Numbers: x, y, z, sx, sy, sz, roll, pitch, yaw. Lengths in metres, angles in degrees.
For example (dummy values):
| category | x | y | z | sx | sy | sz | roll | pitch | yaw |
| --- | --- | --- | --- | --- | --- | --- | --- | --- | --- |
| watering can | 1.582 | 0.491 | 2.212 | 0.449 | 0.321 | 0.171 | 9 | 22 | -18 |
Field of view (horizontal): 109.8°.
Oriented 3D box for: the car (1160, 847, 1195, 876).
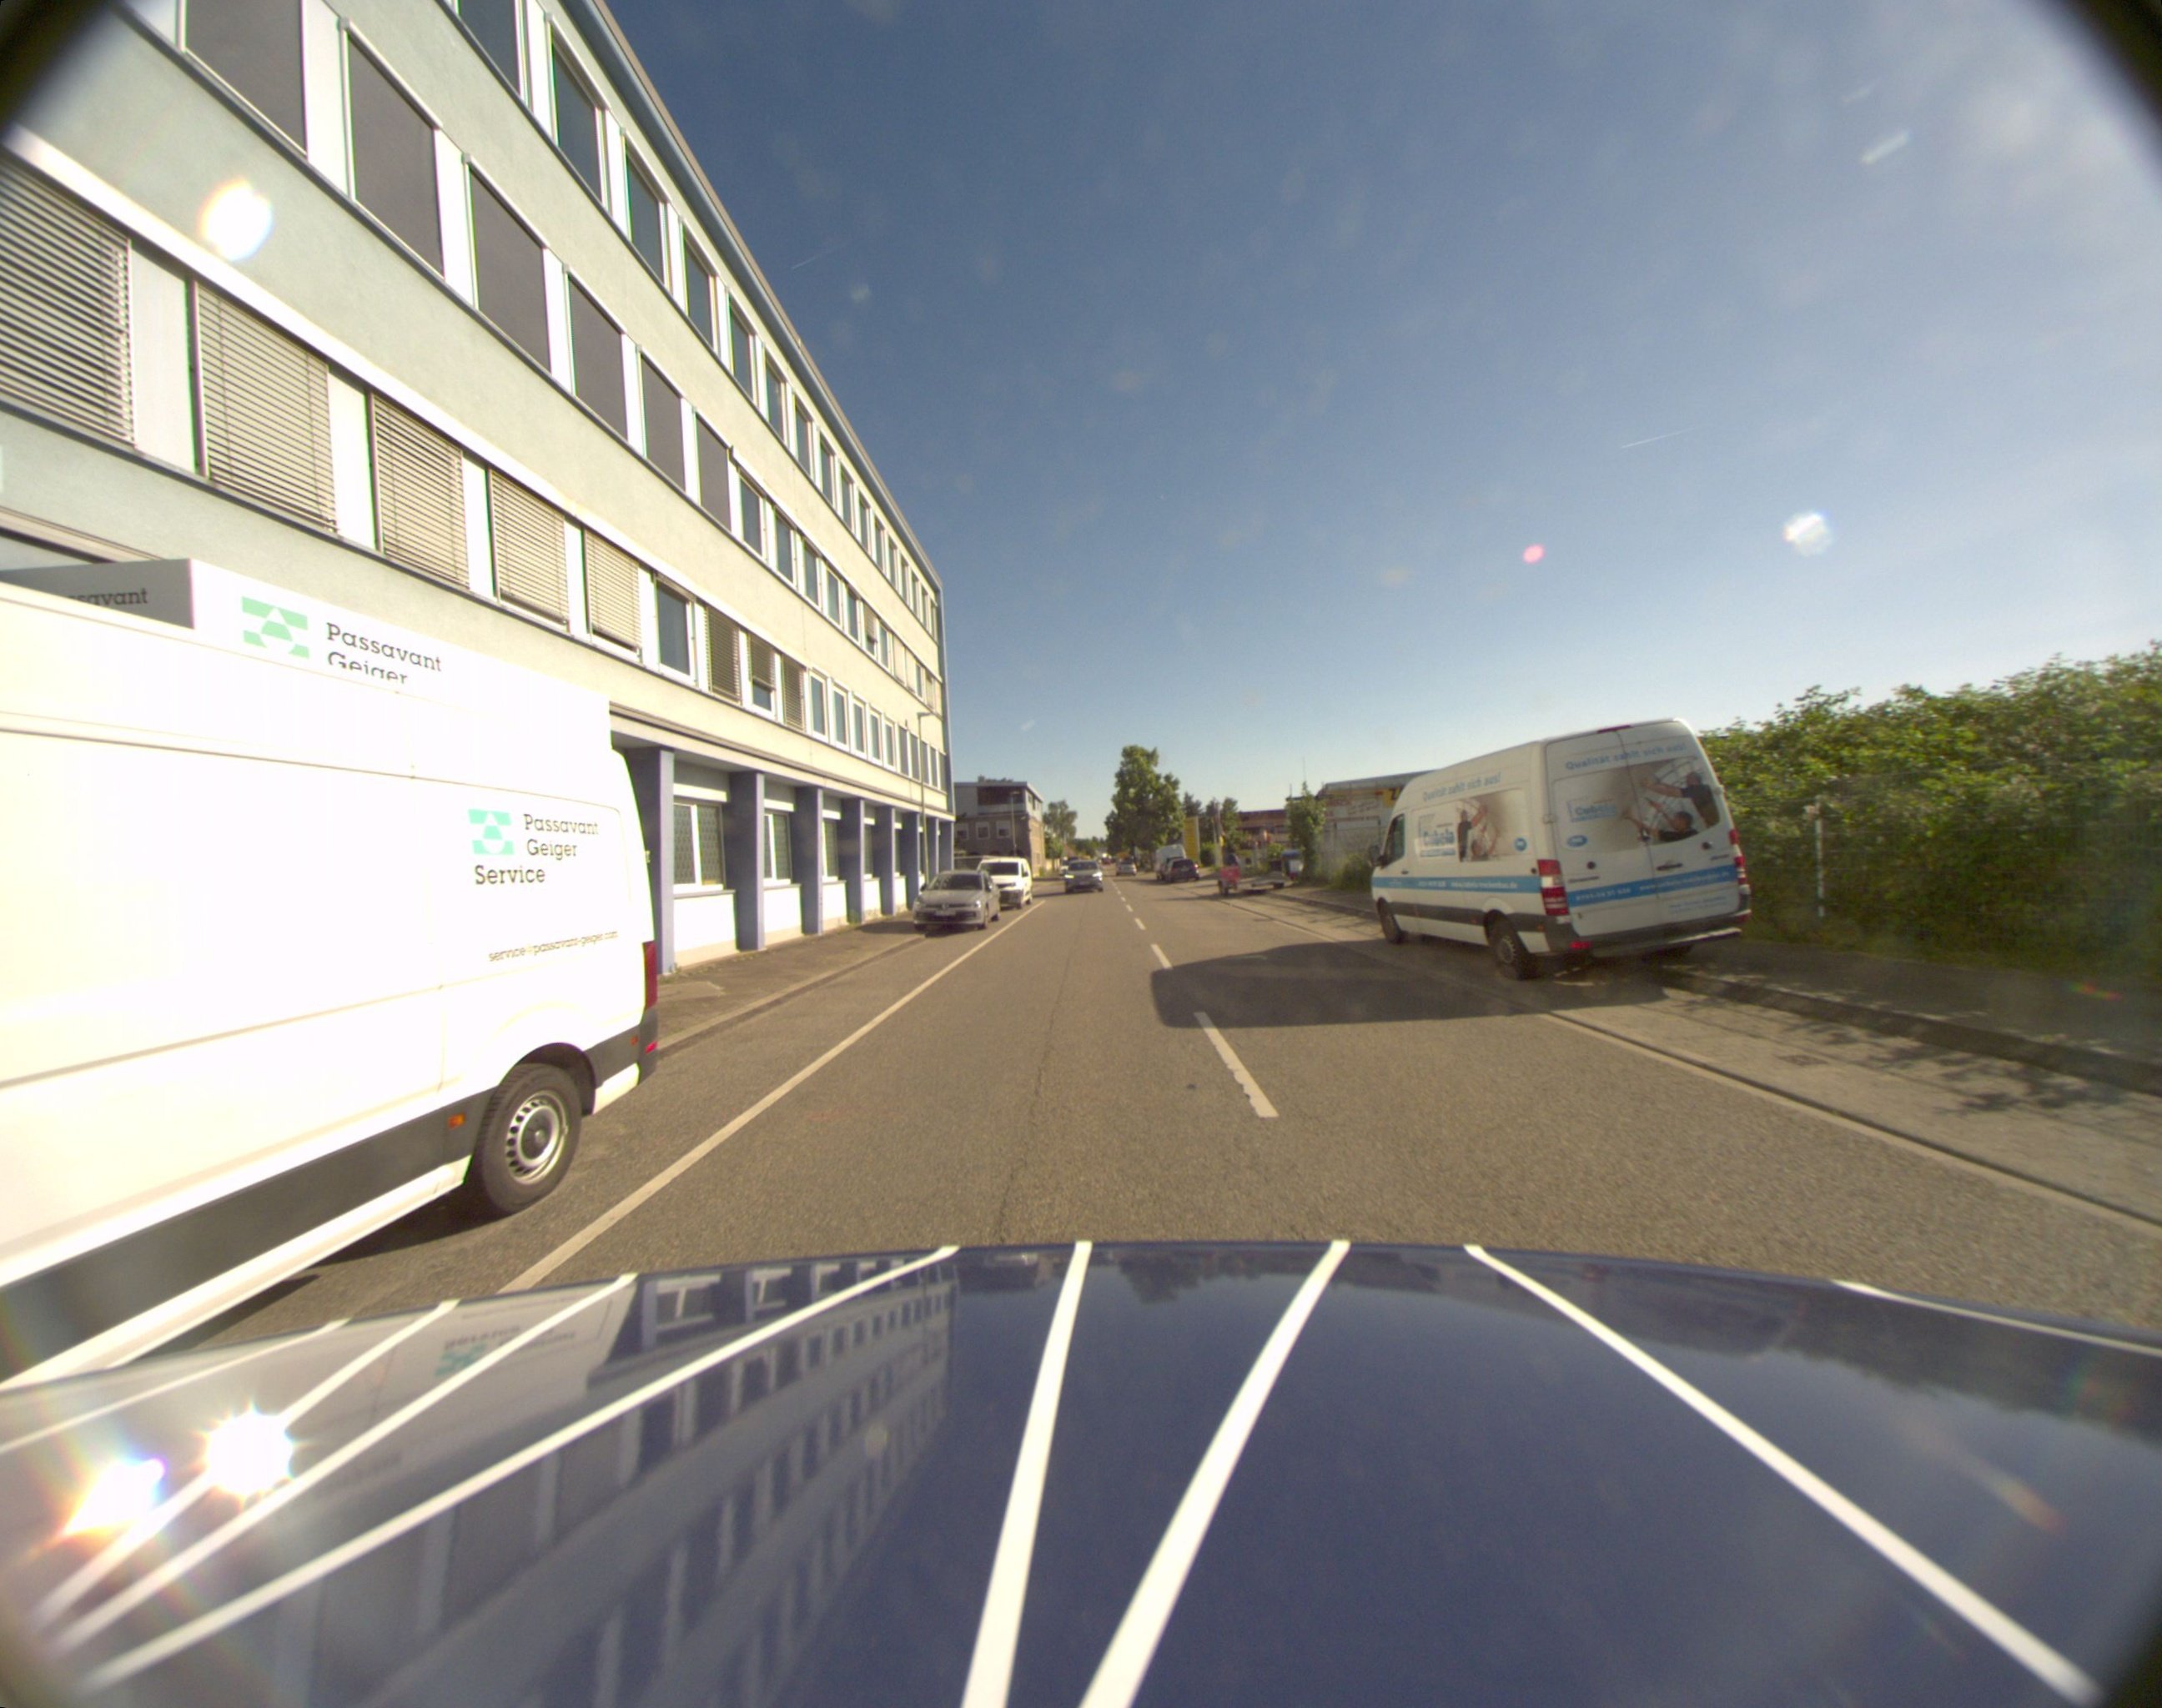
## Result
| category | x | y | z | sx | sy | sz | roll | pitch | yaw |
| --- | --- | --- | --- | --- | --- | --- | --- | --- | --- |
| car | 6.780 | 0.488 | 53.880 | 1.998 | 1.728 | 4.576 | -7 | 0 | 4 |

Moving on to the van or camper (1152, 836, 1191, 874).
| category | x | y | z | sx | sy | sz | roll | pitch | yaw |
| --- | --- | --- | --- | --- | --- | --- | --- | --- | --- |
| van or camper | 6.988 | 0.073 | 59.424 | 2.076 | 2.534 | 6.404 | -7 | 0 | 1 |

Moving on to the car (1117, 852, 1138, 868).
| category | x | y | z | sx | sy | sz | roll | pitch | yaw |
| --- | --- | --- | --- | --- | --- | --- | --- | --- | --- |
| car | 4.423 | 0.559 | 73.151 | 1.751 | 1.439 | 4.360 | -3 | 0 | 1 |

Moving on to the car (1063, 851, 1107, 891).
| category | x | y | z | sx | sy | sz | roll | pitch | yaw |
| --- | --- | --- | --- | --- | --- | --- | --- | --- | --- |
| car | 0.231 | 0.803 | 38.441 | 1.998 | 1.750 | 5.016 | -4 | 0 | 1 |

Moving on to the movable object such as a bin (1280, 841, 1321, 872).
| category | x | y | z | sx | sy | sz | roll | pitch | yaw |
| --- | --- | --- | --- | --- | --- | --- | --- | --- | --- |
| movable object such as a bin | 10.571 | 0.125 | 36.647 | 1.620 | 1.397 | 1.097 | -4 | 1 | 29 |

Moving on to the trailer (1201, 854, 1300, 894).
| category | x | y | z | sx | sy | sz | roll | pitch | yaw |
| --- | --- | --- | --- | --- | --- | --- | --- | --- | --- |
| trailer | 6.334 | 0.724 | 29.286 | 2.382 | 1.073 | 6.246 | -7 | -1 | 1 |

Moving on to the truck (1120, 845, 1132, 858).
| category | x | y | z | sx | sy | sz | roll | pitch | yaw |
| --- | --- | --- | --- | --- | --- | --- | --- | --- | --- |
| truck | 9.556 | -0.556 | 163.068 | 2.173 | 2.698 | 5.749 | -5 | 1 | 2 |

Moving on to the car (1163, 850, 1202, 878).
| category | x | y | z | sx | sy | sz | roll | pitch | yaw |
| --- | --- | --- | --- | --- | --- | --- | --- | --- | --- |
| car | 6.429 | 0.602 | 48.607 | 1.804 | 1.501 | 5.003 | -7 | 0 | 2 |

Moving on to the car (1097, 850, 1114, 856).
| category | x | y | z | sx | sy | sz | roll | pitch | yaw |
| --- | --- | --- | --- | --- | --- | --- | --- | --- | --- |
| car | 5.851 | -0.230 | 178.420 | 1.871 | 1.412 | 4.539 | -1 | 0 | 32 |

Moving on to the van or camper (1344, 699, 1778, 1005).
| category | x | y | z | sx | sy | sz | roll | pitch | yaw |
| --- | --- | --- | --- | --- | --- | --- | --- | --- | --- |
| van or camper | 5.616 | -0.018 | 10.246 | 1.971 | 2.669 | 5.948 | -8 | 0 | 3 |

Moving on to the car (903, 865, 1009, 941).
| category | x | y | z | sx | sy | sz | roll | pitch | yaw |
| --- | --- | --- | --- | --- | --- | --- | --- | --- | --- |
| car | -3.167 | 1.176 | 20.333 | 1.894 | 1.551 | 5.090 | -4 | 0 | 0 |

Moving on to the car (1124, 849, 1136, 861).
| category | x | y | z | sx | sy | sz | roll | pitch | yaw |
| --- | --- | --- | --- | --- | --- | --- | --- | --- | --- |
| car | 8.485 | 0.115 | 131.484 | 1.779 | 1.838 | 4.616 | -5 | 0 | 4 |

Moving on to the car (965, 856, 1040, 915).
| category | x | y | z | sx | sy | sz | roll | pitch | yaw |
| --- | --- | --- | --- | --- | --- | --- | --- | --- | --- |
| car | -2.785 | 1.059 | 28.036 | 1.894 | 1.821 | 5.091 | -4 | 0 | 3 |

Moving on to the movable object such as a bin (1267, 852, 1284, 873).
| category | x | y | z | sx | sy | sz | roll | pitch | yaw |
| --- | --- | --- | --- | --- | --- | --- | --- | --- | --- |
| movable object such as a bin | 9.587 | 0.399 | 37.431 | 0.615 | 0.967 | 0.750 | -3 | 2 | 26 |

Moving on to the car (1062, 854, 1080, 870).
| category | x | y | z | sx | sy | sz | roll | pitch | yaw |
| --- | --- | --- | --- | --- | --- | --- | --- | --- | --- |
| car | -1.128 | 0.857 | 86.868 | 1.937 | 1.635 | 4.769 | -3 | 0 | 0 |

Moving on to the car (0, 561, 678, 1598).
| category | x | y | z | sx | sy | sz | roll | pitch | yaw |
| --- | --- | --- | --- | --- | --- | --- | --- | --- | --- |
| car | -3.704 | 0.577 | 2.003 | 1.998 | 2.582 | 6.051 | -2 | -1 | 0 |
